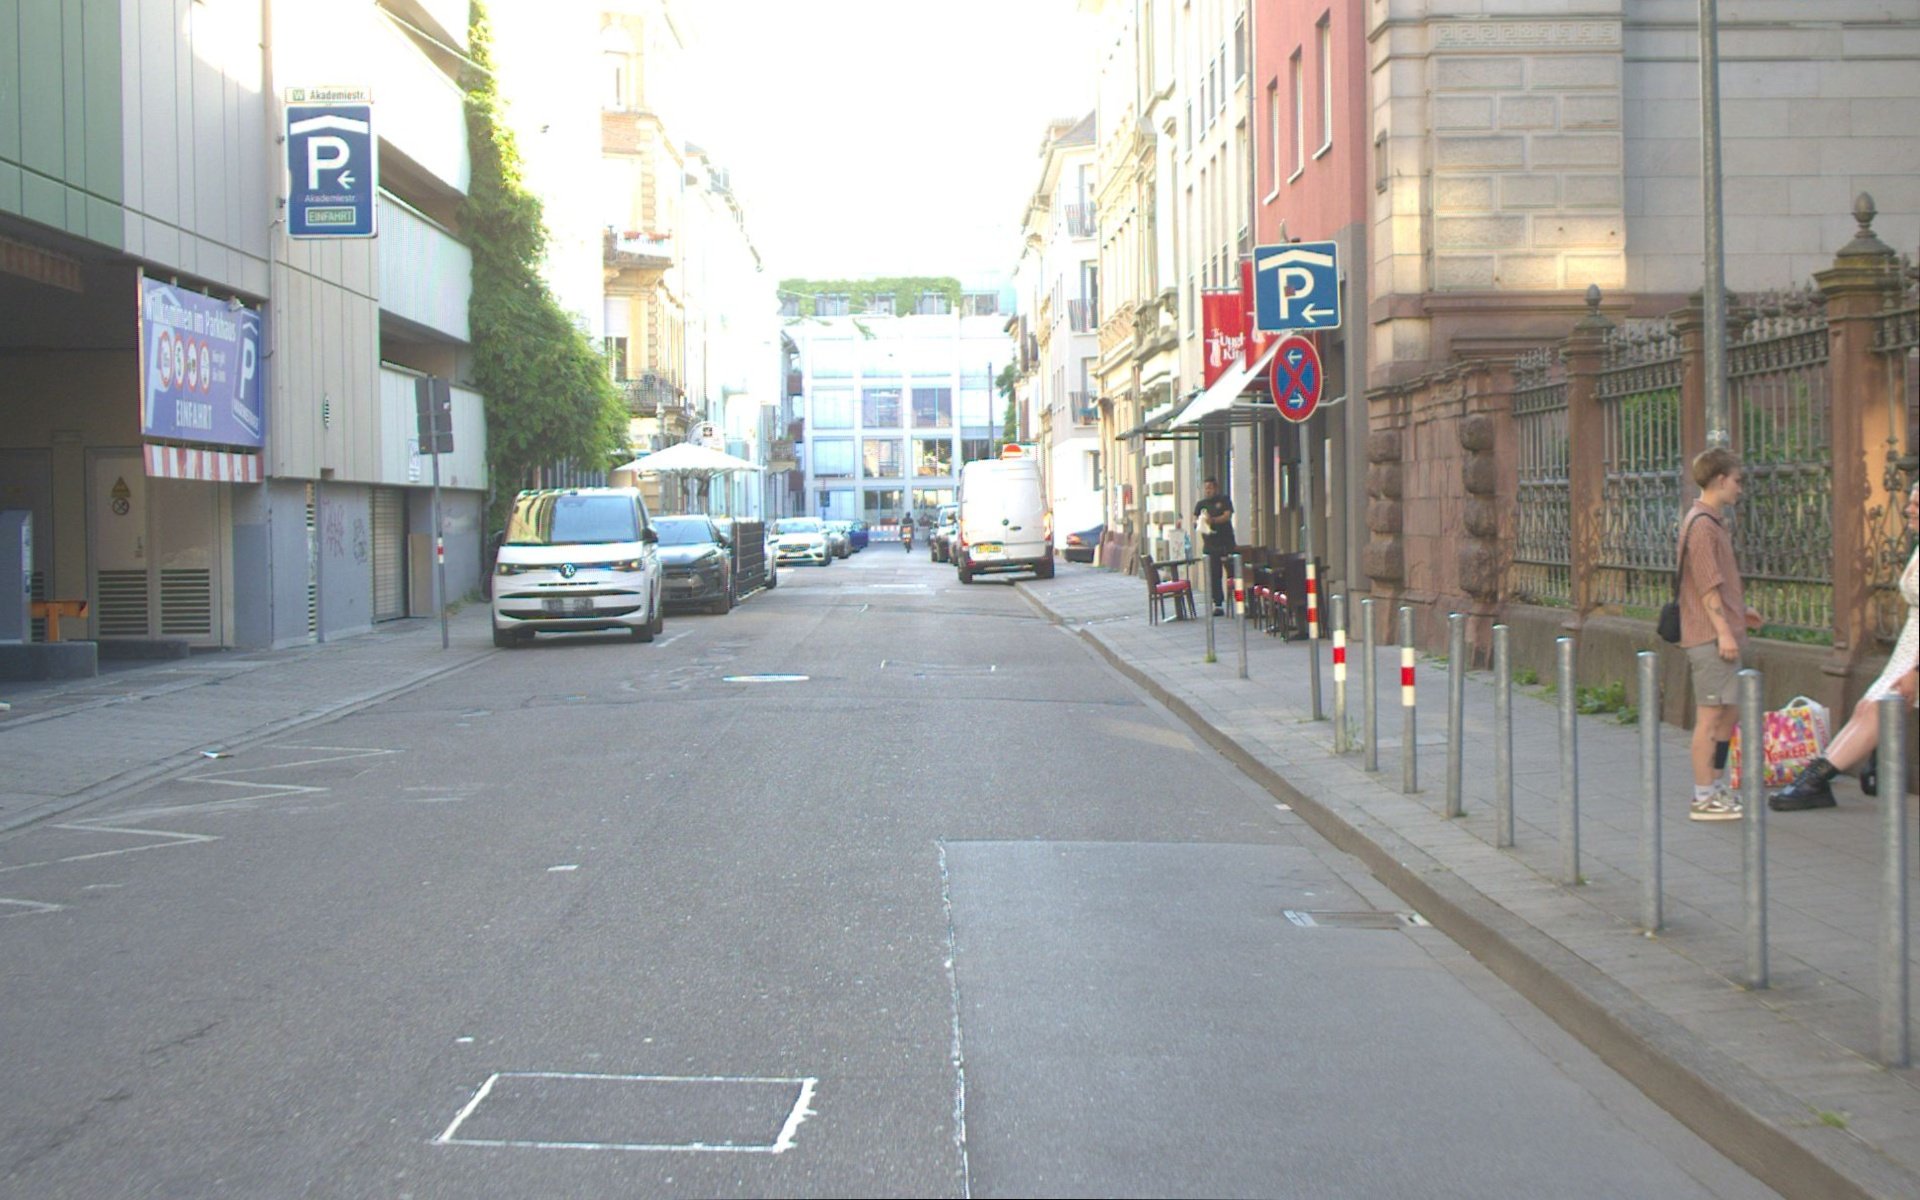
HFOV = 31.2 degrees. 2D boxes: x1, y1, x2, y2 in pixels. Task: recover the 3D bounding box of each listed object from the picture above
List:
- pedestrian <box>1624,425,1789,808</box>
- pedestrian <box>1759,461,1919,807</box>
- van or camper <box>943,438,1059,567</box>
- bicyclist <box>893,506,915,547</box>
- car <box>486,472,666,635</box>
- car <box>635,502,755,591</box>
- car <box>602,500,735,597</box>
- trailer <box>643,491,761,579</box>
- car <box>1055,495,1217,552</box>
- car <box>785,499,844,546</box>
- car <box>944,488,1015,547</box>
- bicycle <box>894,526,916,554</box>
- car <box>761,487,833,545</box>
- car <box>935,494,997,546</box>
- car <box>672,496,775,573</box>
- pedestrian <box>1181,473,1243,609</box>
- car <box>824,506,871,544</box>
[{"bbox_3d":[3.313,0.063,15.286,0.484,1.652,0.619,-2,2,-8],"label":"pedestrian"},{"bbox_3d":[4.071,0.135,15.406,0.749,1.494,0.619,-2,2,-6],"label":"pedestrian"},{"bbox_3d":[0.868,-2.132,76.144,2.258,2.598,5.112,-5,1,0],"label":"van or camper"},{"bbox_3d":[-2.525,-3.302,154.330,0.990,1.862,0.708,0,1,0],"label":"bicyclist"},{"bbox_3d":[-4.707,-0.617,42.726,1.883,1.905,4.749,-1,2,-2],"label":"car"},{"bbox_3d":[-4.506,-0.935,58.902,1.883,1.448,4.001,-1,2,-2],"label":"car"},{"bbox_3d":[-4.544,-0.836,54.035,1.883,1.448,4.001,-1,2,-2],"label":"car"},{"bbox_3d":[-4.704,-1.195,63.189,1.993,1.551,4.000,0,1,-2],"label":"trailer"},{"bbox_3d":[4.417,-1.934,86.772,3.987,1.415,1.656,0,1,0],"label":"car"},{"bbox_3d":[-5.280,-2.816,125.140,1.993,1.678,4.000,0,1,0],"label":"car"},{"bbox_3d":[0.548,-2.397,100.719,1.993,1.678,4.000,0,1,0],"label":"car"},{"bbox_3d":[-2.452,-2.700,154.476,0.975,1.276,2.754,0,1,0],"label":"bicycle"},{"bbox_3d":[-4.816,-2.481,102.090,1.993,1.678,4.000,0,1,0],"label":"car"},{"bbox_3d":[0.180,-2.613,112.561,1.993,1.678,4.000,0,1,0],"label":"car"},{"bbox_3d":[-4.619,-1.307,67.638,1.883,1.448,4.001,-1,2,-2],"label":"car"},{"bbox_3d":[3.147,-0.741,42.966,0.662,1.660,0.624,-2,2,0],"label":"pedestrian"},{"bbox_3d":[-5.042,-3.364,154.866,1.993,1.678,4.000,0,1,0],"label":"car"}]
